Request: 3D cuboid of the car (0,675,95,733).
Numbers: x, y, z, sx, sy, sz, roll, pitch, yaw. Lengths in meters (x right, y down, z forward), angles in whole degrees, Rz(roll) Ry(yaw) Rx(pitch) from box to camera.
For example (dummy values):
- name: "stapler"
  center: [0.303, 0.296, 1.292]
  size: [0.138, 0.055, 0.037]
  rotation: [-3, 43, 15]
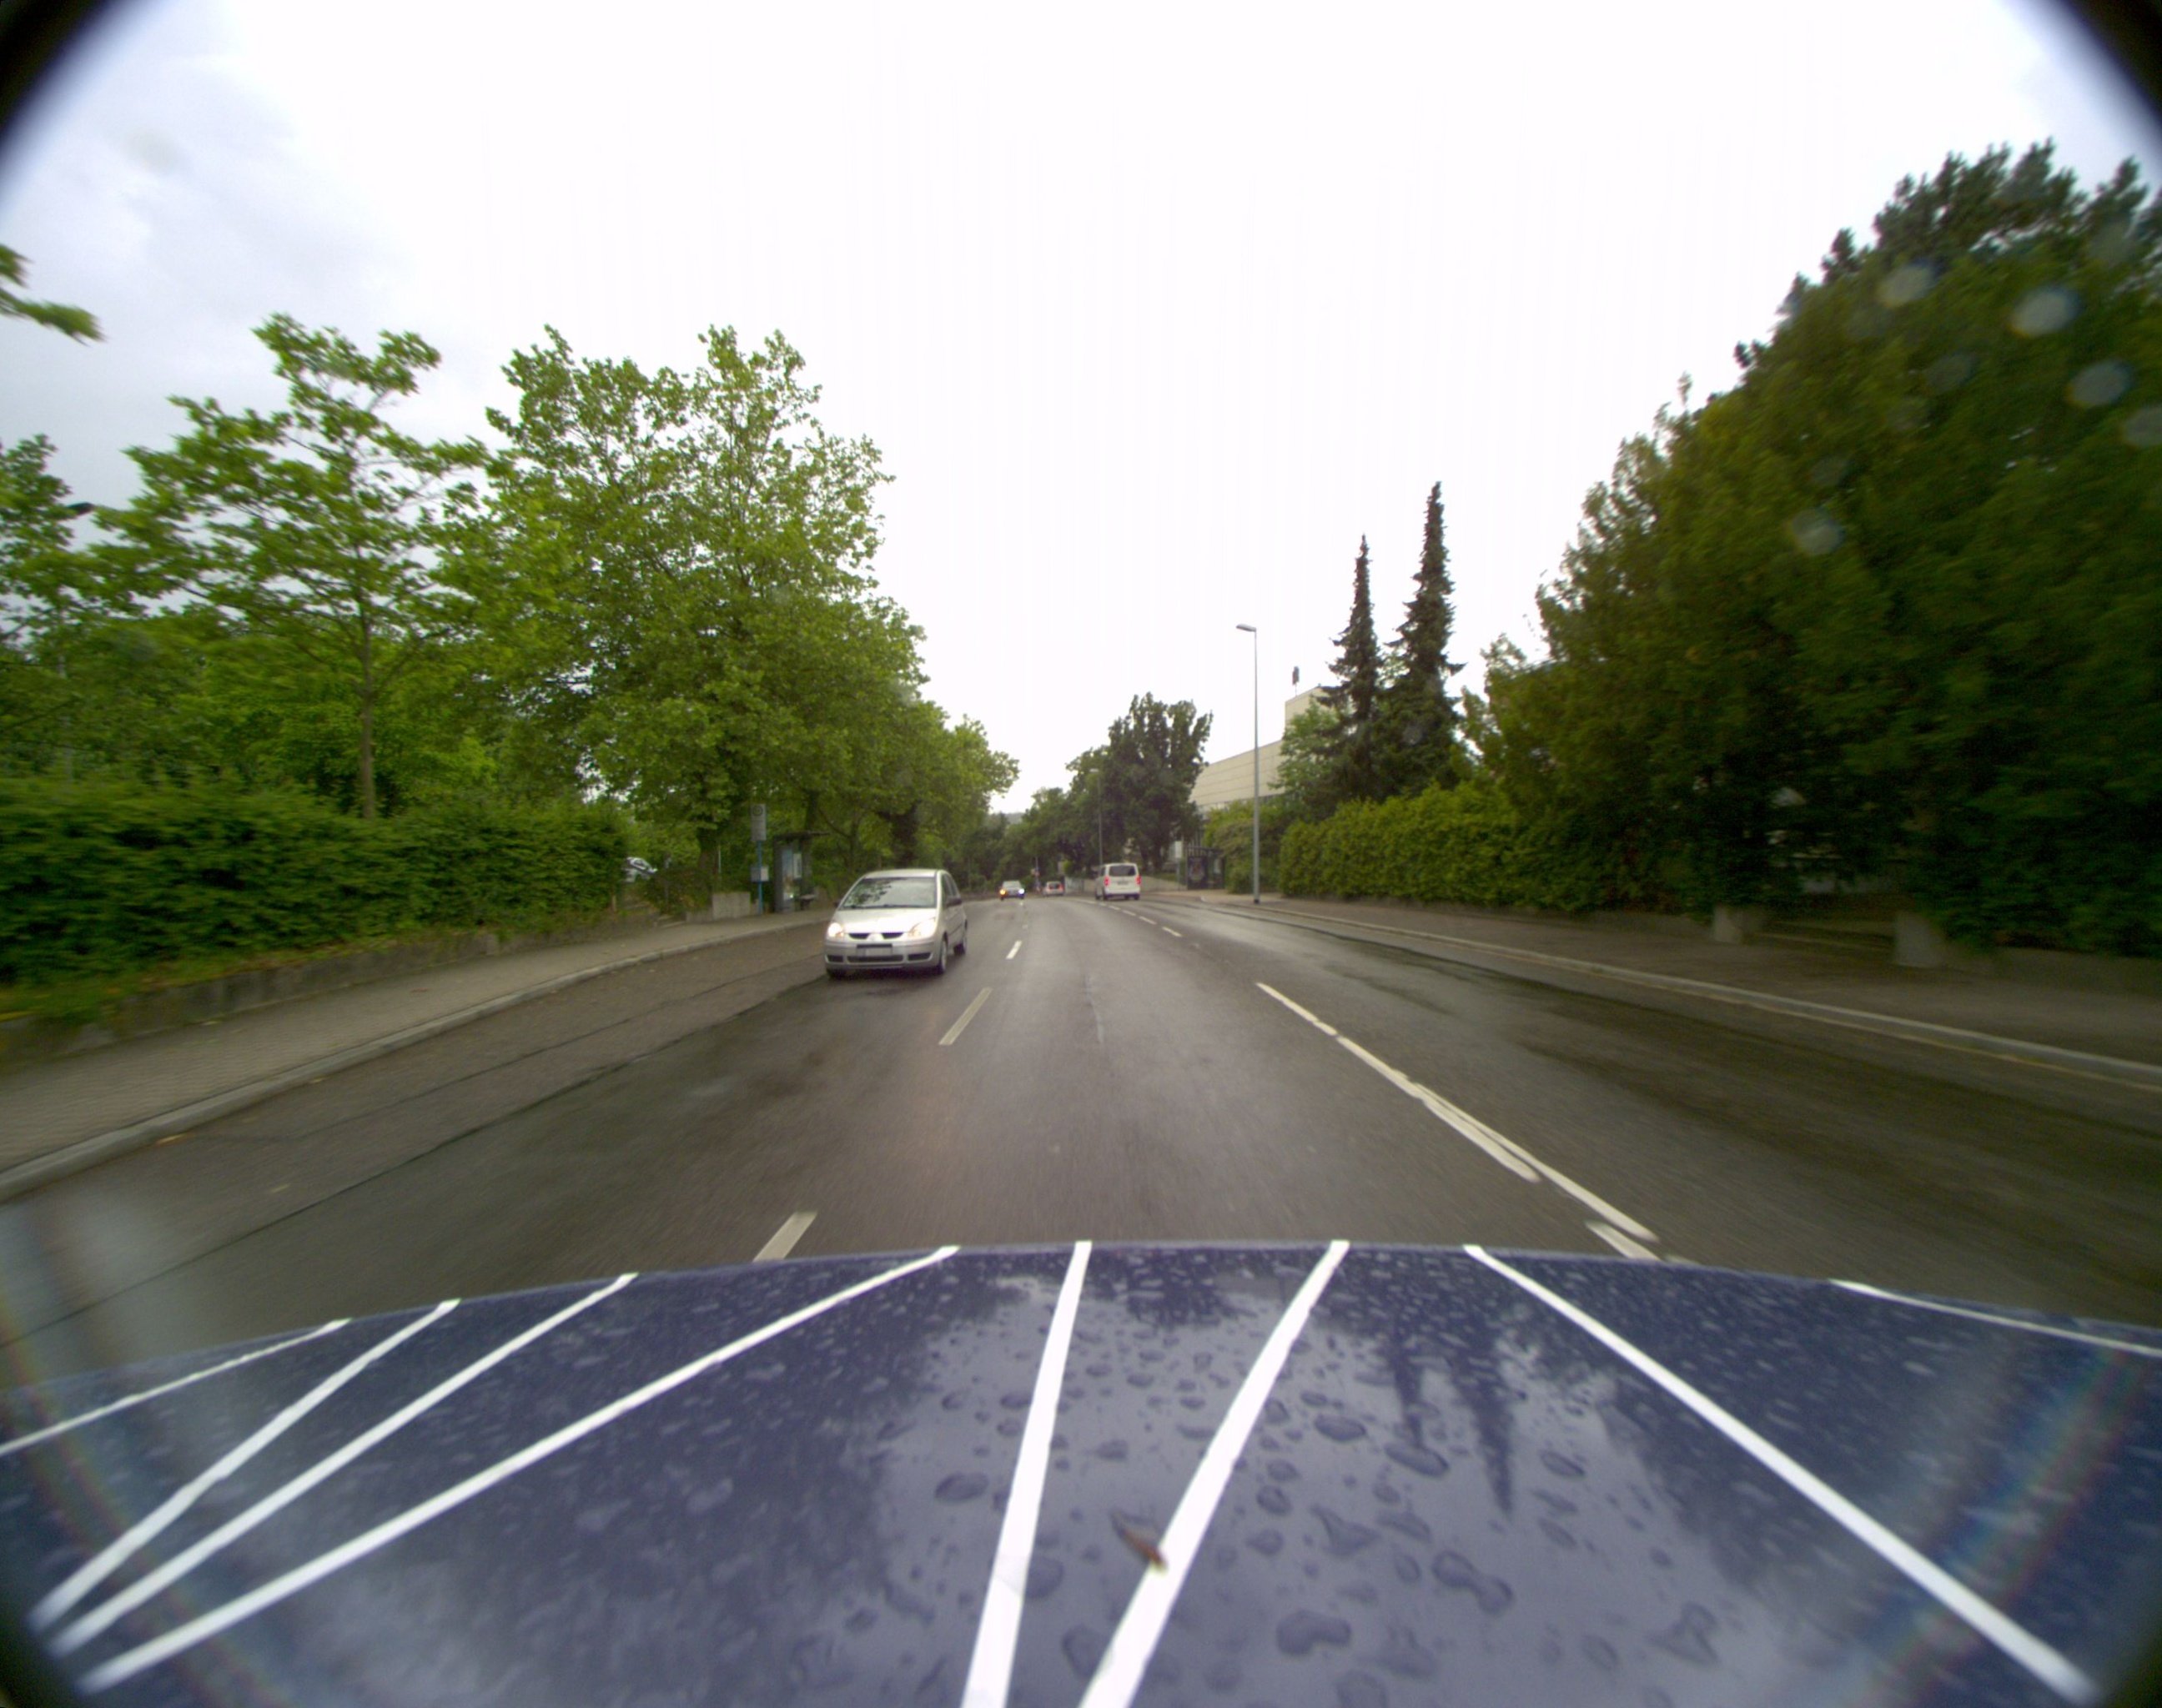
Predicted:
- name: "car"
  center: [-42.344, -5.926, 29.754]
  size: [4.186, 1.758, 1.800]
  rotation: [-2, -3, -33]

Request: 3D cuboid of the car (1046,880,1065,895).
- name: "car"
  center: [-2.572, 3.309, 75.823]
  size: [1.690, 1.445, 3.397]
  rotation: [-1, -2, -6]

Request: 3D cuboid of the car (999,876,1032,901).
- name: "car"
  center: [-4.998, 2.665, 58.346]
  size: [2.035, 1.690, 4.002]
  rotation: [-4, -3, 1]

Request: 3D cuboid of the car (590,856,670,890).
- name: "car"
  center: [-21.923, 0.967, 37.123]
  size: [1.900, 1.444, 4.170]
  rotation: [-4, -2, -9]

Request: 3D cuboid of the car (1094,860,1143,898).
- name: "car"
  center: [1.975, 1.313, 41.238]
  size: [1.869, 1.905, 5.027]
  rotation: [1, -1, -6]

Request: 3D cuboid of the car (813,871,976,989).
- name: "car"
  center: [-2.794, 1.065, 12.246]
  size: [1.640, 1.496, 4.000]
  rotation: [-2, -1, -1]
